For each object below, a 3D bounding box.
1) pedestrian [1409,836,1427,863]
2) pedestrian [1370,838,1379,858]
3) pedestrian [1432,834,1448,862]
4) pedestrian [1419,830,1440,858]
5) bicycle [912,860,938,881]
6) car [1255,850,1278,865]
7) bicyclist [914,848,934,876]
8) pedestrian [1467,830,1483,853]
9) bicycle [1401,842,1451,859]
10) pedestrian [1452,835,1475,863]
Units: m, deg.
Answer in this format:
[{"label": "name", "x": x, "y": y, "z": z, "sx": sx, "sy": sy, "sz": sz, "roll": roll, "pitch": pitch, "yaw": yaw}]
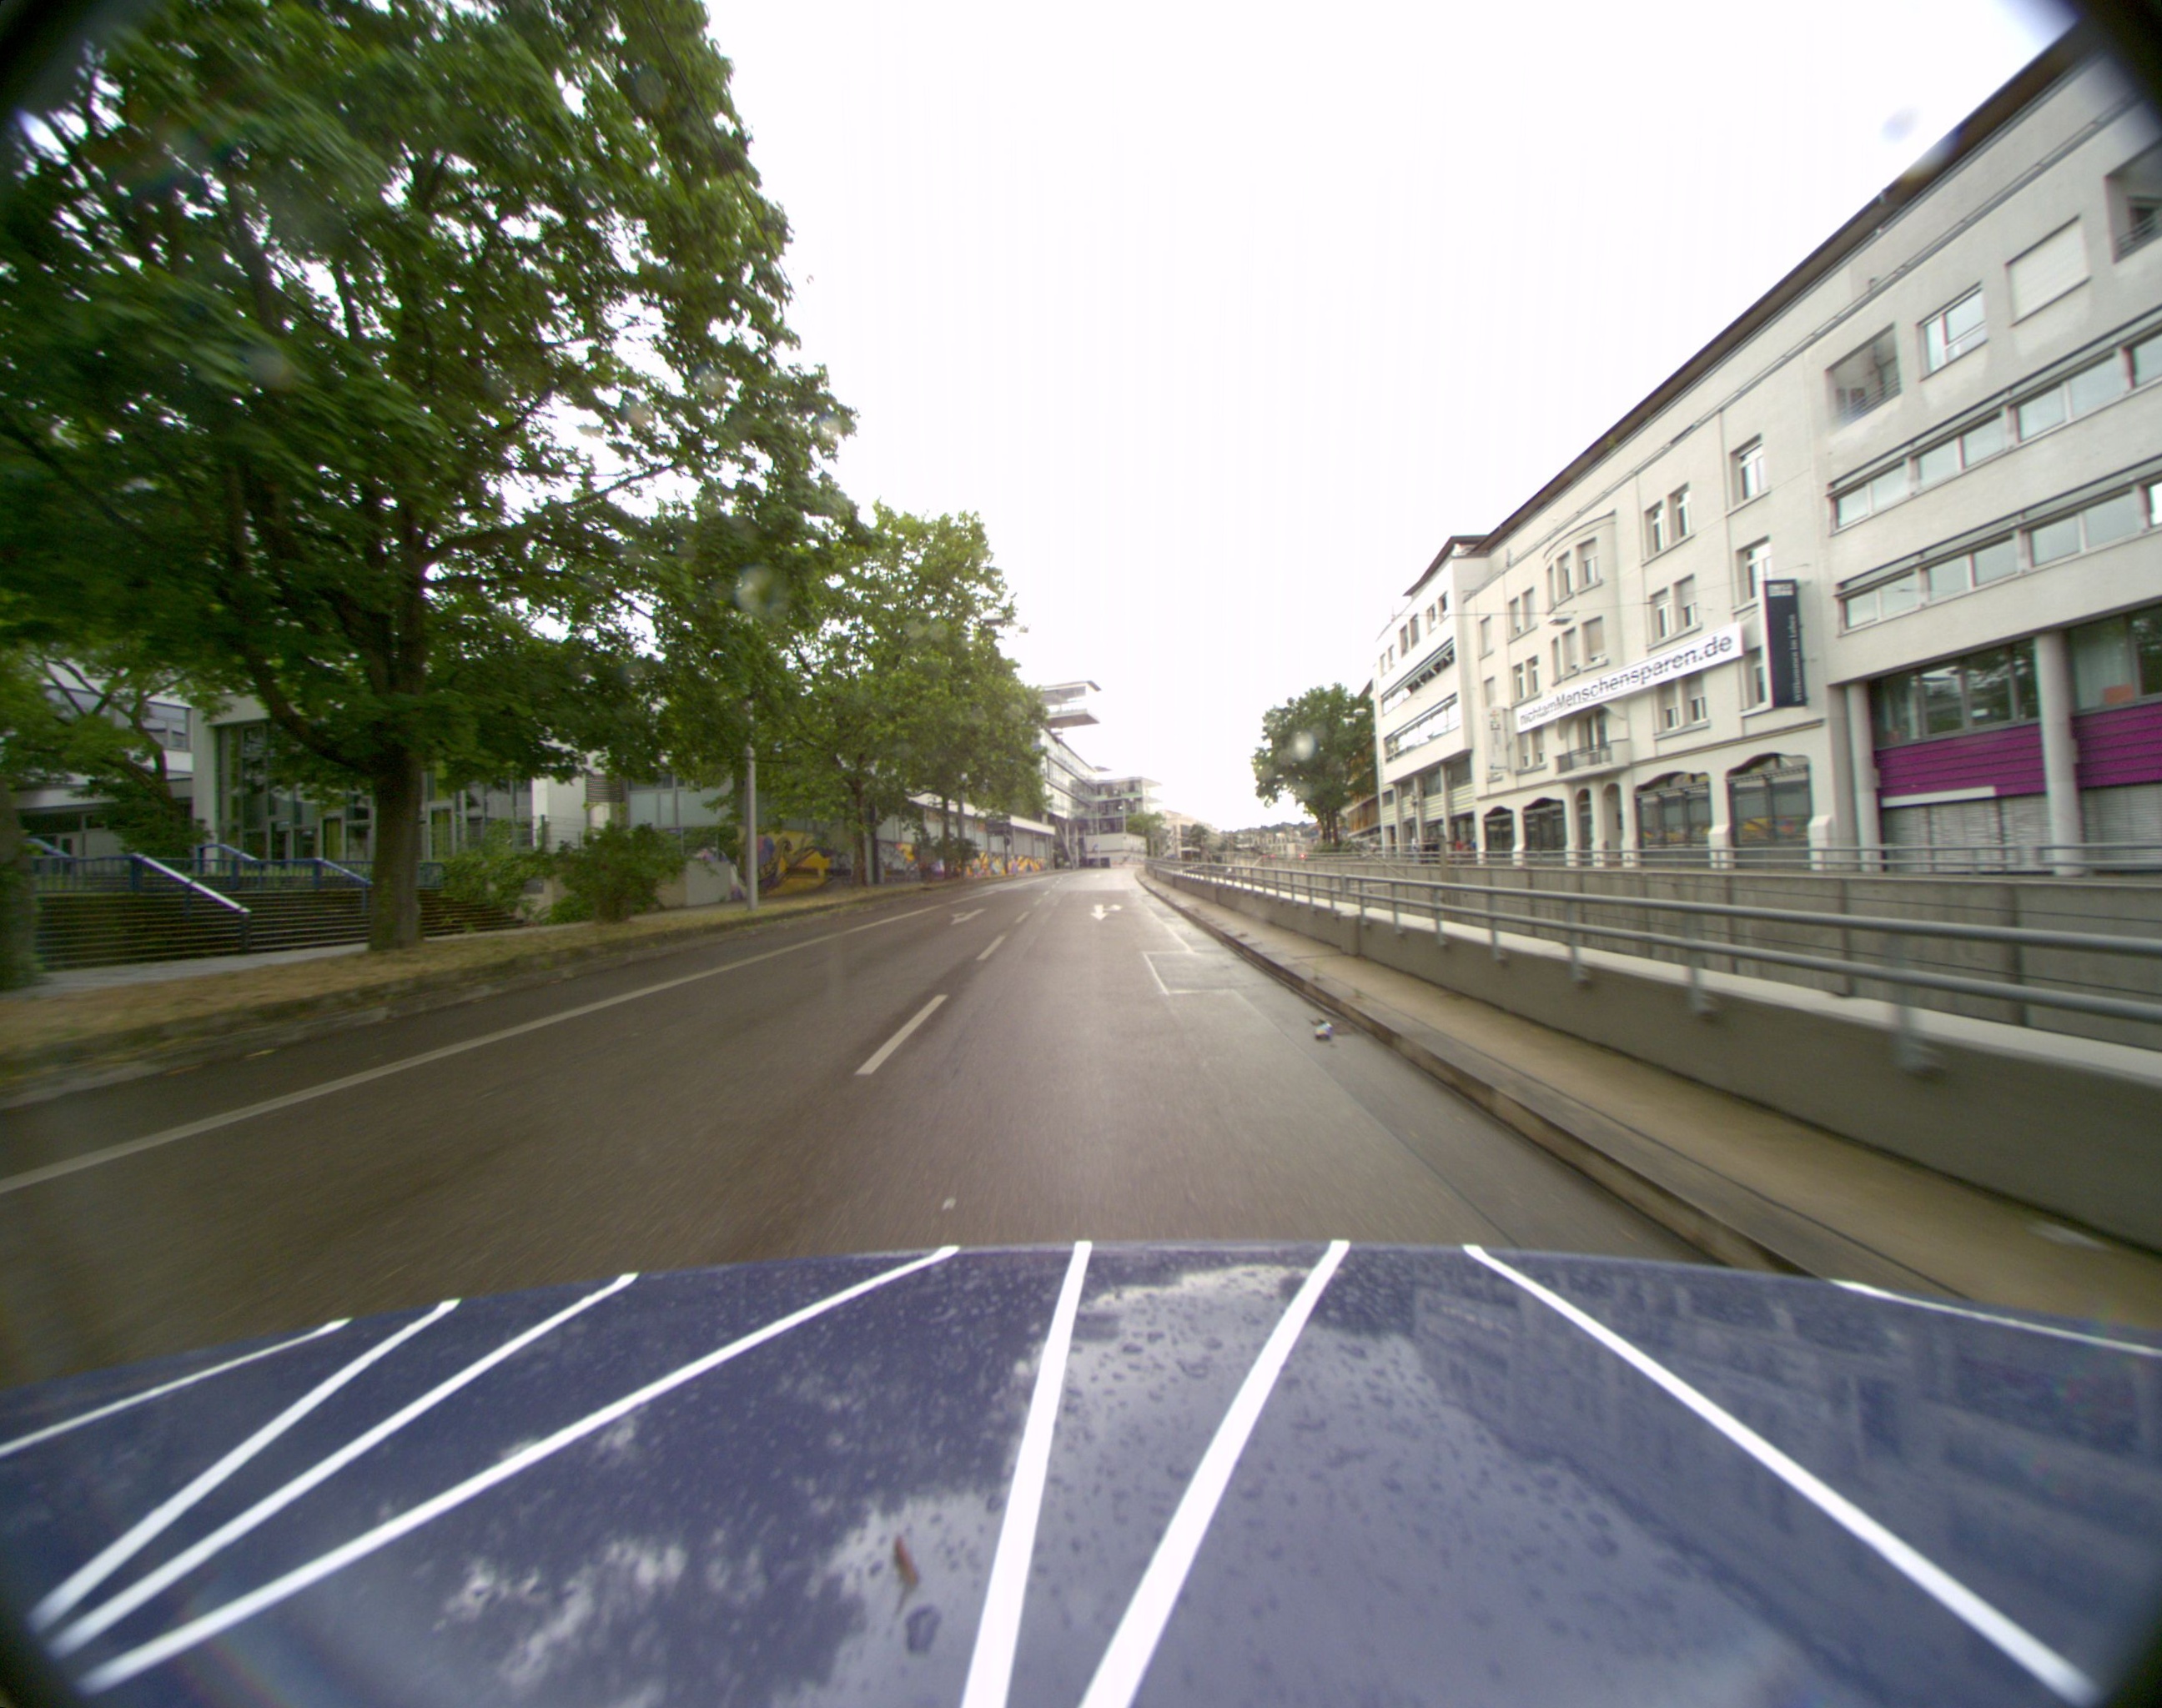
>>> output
[{"label": "pedestrian", "x": 21.372, "y": -0.271, "z": 48.199, "sx": 0.675, "sy": 1.633, "sz": 0.793, "roll": -3, "pitch": 0, "yaw": -42}, {"label": "pedestrian", "x": 27.442, "y": -0.594, "z": 70.997, "sx": 0.666, "sy": 1.838, "sz": 0.831, "roll": -1, "pitch": 0, "yaw": 10}, {"label": "pedestrian", "x": 22.503, "y": -0.377, "z": 47.647, "sx": 0.675, "sy": 1.712, "sz": 0.608, "roll": -3, "pitch": 0, "yaw": -39}, {"label": "pedestrian", "x": 22.474, "y": -0.619, "z": 49.007, "sx": 0.674, "sy": 1.774, "sz": 0.941, "roll": -3, "pitch": 0, "yaw": -14}, {"label": "bicycle", "x": -9.234, "y": 0.968, "z": 45.013, "sx": 0.808, "sy": 1.105, "sz": 2.199, "roll": -2, "pitch": 0, "yaw": 8}, {"label": "car", "x": 23.022, "y": 0.471, "z": 94.241, "sx": 1.841, "sy": 1.703, "sz": 4.578, "roll": -2, "pitch": 0, "yaw": 3}, {"label": "bicyclist", "x": -9.272, "y": 0.476, "z": 44.942, "sx": 0.808, "sy": 1.618, "sz": 1.047, "roll": -2, "pitch": 1, "yaw": 8}, {"label": "pedestrian", "x": 24.545, "y": -0.777, "z": 47.361, "sx": 0.608, "sy": 1.410, "sz": 0.674, "roll": -3, "pitch": 0, "yaw": 6}, {"label": "bicycle", "x": 24.044, "y": -0.252, "z": 53.110, "sx": 1.696, "sy": 1.037, "sz": 4.523, "roll": -3, "pitch": 1, "yaw": 5}, {"label": "pedestrian", "x": 22.393, "y": -0.275, "z": 44.486, "sx": 0.674, "sy": 1.606, "sz": 0.941, "roll": -3, "pitch": 0, "yaw": -14}]
